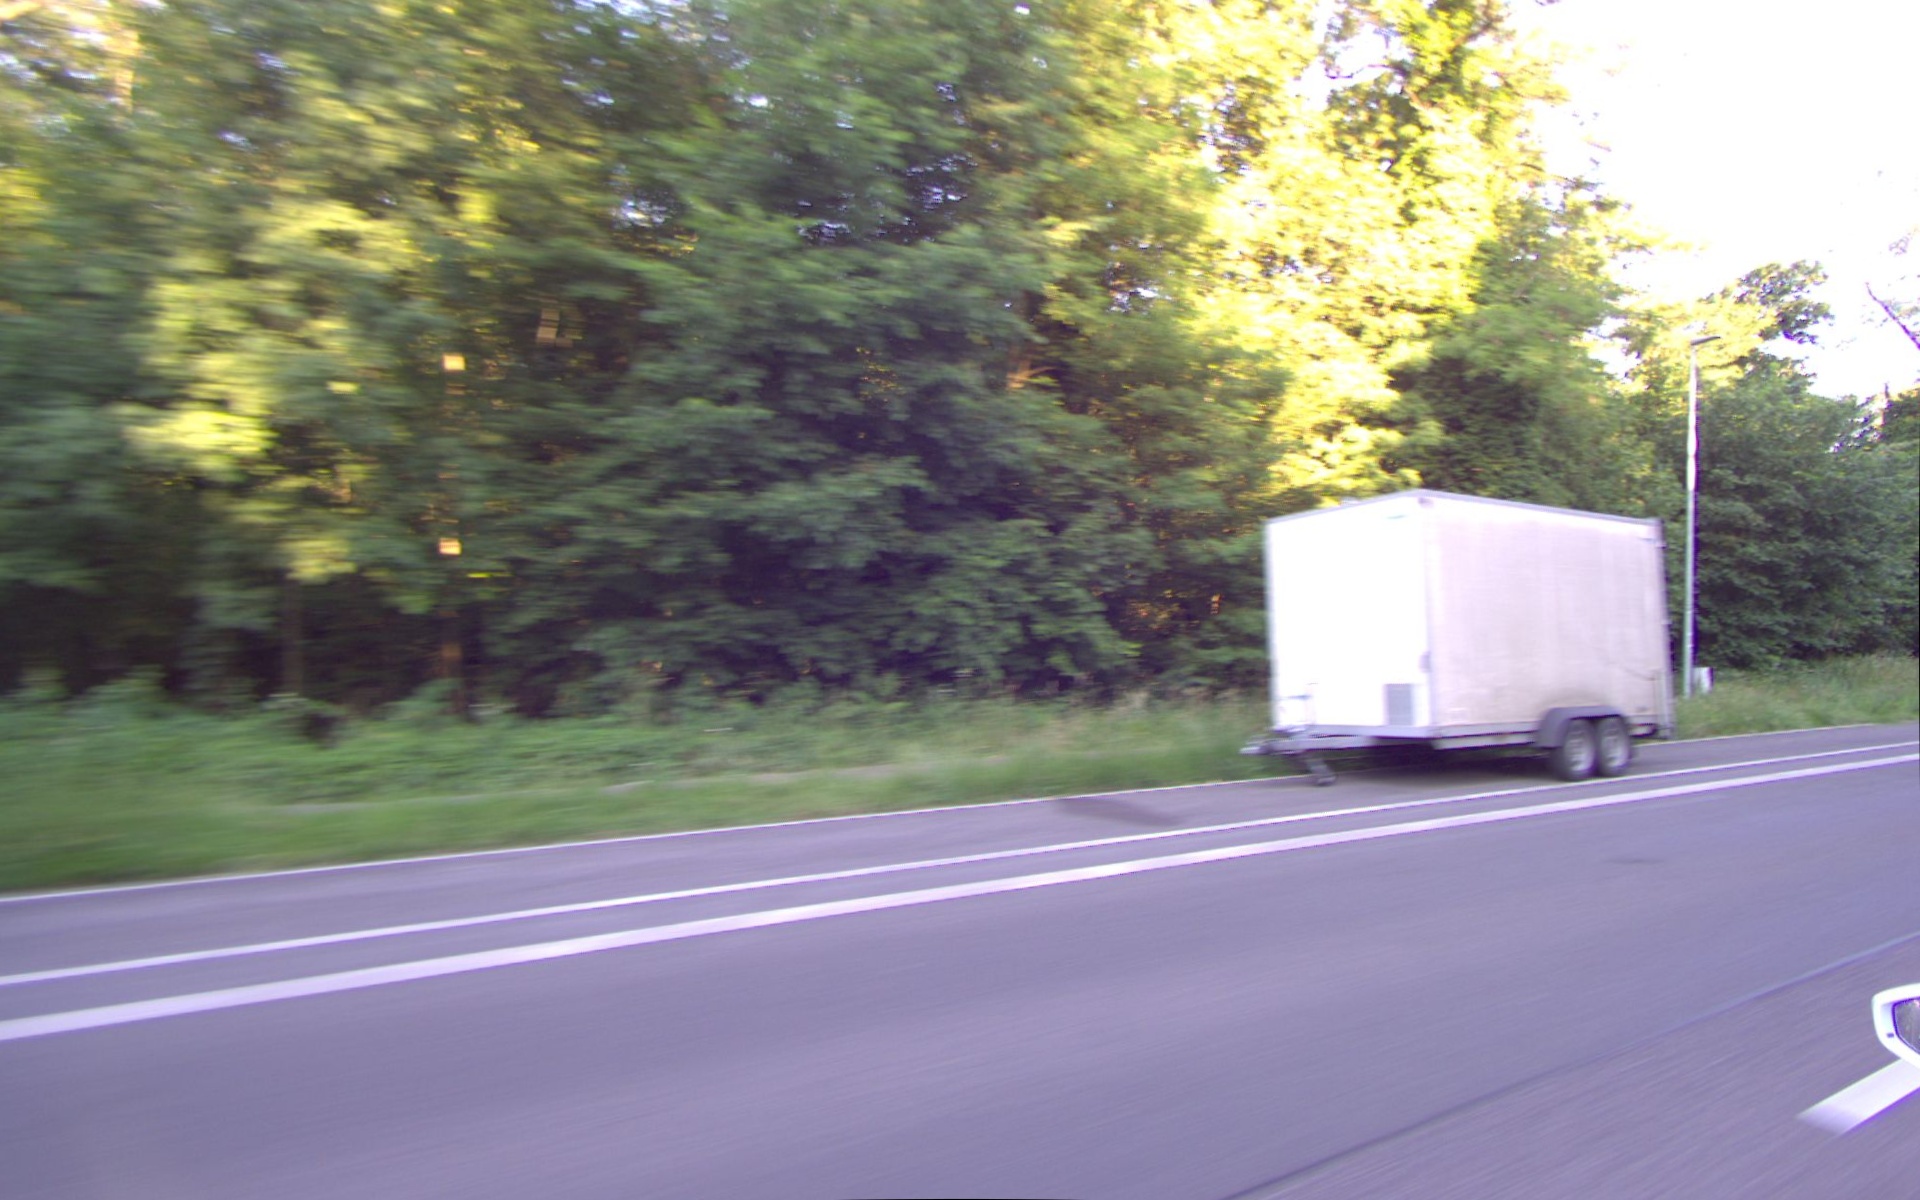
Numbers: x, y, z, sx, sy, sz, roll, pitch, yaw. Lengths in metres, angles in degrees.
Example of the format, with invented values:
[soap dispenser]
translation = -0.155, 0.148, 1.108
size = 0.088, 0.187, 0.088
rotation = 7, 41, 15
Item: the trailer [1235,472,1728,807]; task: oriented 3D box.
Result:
[trailer]
translation = 5.960, 0.455, 11.313
size = 5.562, 2.962, 2.315
rotation = 1, -3, -31
